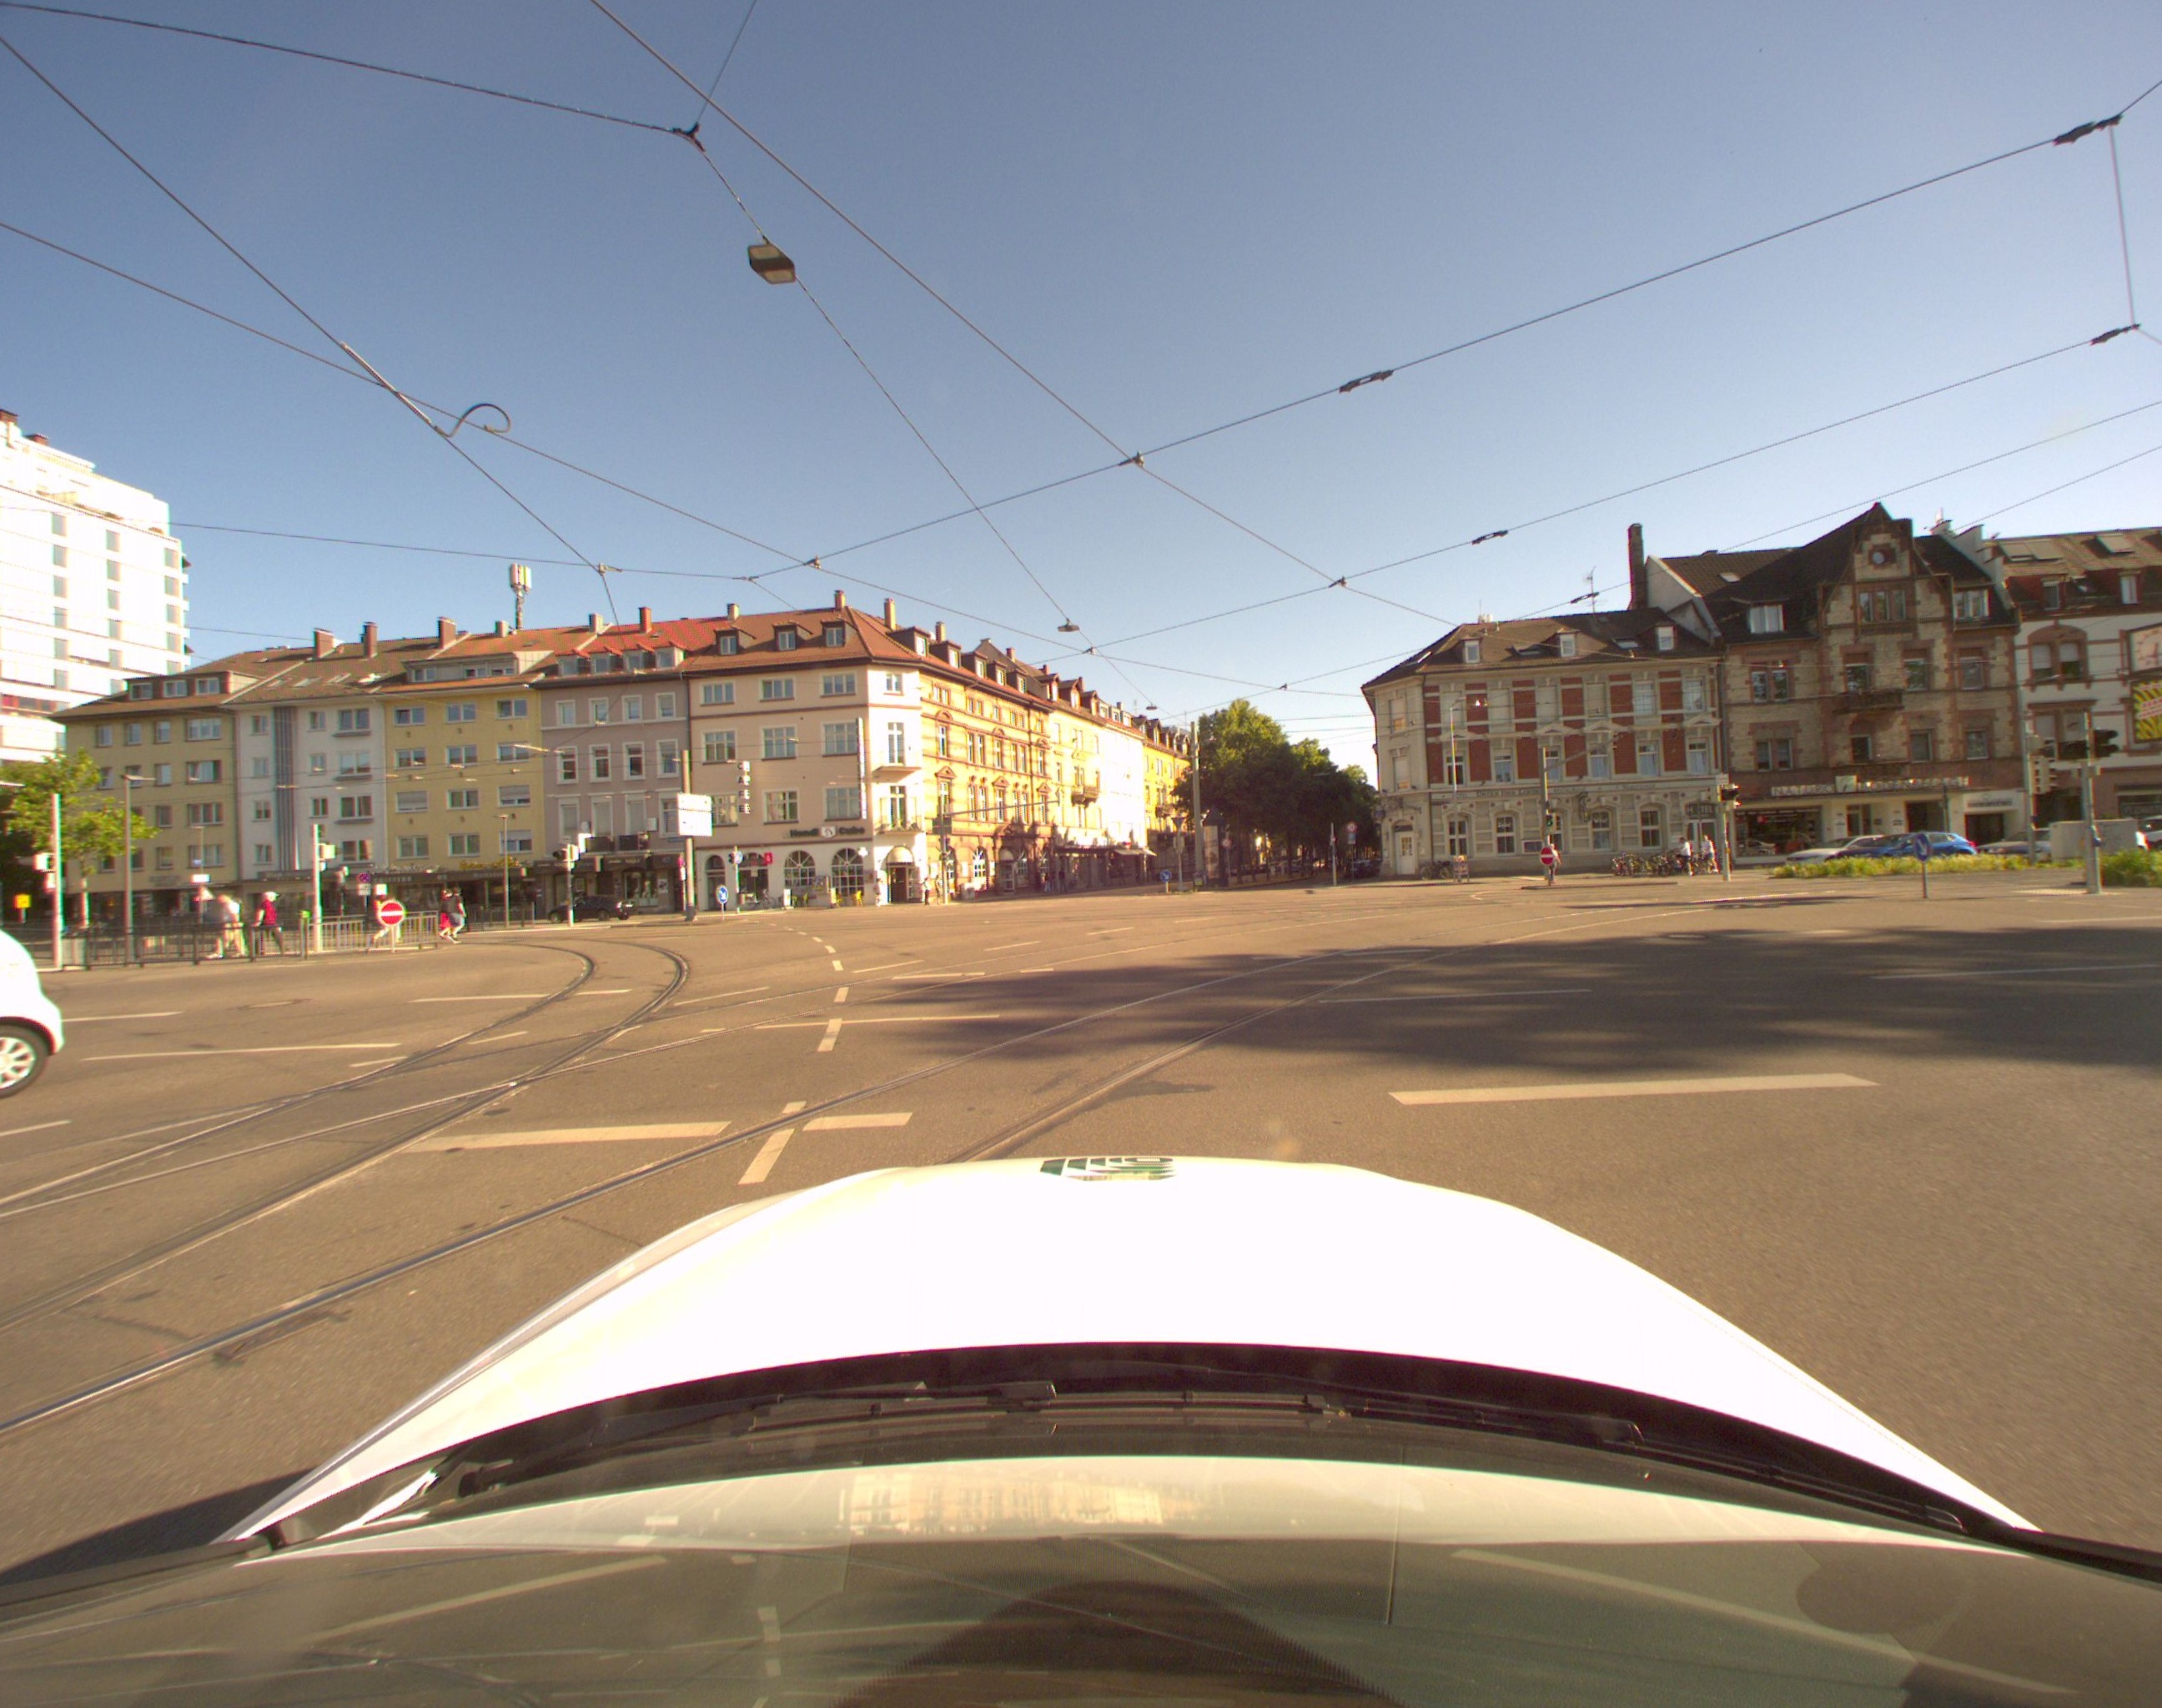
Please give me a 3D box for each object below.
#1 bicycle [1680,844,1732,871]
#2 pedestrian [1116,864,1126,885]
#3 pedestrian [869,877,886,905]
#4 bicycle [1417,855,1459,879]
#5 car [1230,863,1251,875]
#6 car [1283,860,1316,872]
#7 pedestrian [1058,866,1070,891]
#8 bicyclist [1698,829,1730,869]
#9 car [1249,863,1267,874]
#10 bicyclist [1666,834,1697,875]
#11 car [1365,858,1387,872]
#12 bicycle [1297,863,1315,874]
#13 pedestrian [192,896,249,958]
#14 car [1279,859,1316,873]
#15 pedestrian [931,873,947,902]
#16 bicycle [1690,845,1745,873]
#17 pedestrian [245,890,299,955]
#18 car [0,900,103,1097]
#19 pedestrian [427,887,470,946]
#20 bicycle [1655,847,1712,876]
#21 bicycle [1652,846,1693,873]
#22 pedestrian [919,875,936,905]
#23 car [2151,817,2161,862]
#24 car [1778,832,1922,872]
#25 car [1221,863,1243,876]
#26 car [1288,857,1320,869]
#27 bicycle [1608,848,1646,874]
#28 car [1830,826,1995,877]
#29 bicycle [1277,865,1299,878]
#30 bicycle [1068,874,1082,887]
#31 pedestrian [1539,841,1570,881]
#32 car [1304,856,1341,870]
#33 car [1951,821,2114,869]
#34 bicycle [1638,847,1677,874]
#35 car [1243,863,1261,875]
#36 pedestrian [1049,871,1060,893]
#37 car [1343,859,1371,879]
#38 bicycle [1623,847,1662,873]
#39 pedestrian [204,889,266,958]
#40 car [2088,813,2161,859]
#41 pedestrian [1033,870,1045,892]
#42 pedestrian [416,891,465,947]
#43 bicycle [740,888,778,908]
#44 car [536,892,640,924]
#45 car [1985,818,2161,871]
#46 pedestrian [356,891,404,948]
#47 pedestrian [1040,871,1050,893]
[{"bbox_3d":[29.214,0.169,38.081,1.957,1.191,0.678,-3,-1,-5],"label":"bicycle"},{"bbox_3d":[3.697,1.930,76.073,0.676,1.908,0.636,-3,-1,23],"label":"pedestrian"},{"bbox_3d":[-11.424,2.058,45.694,0.654,1.524,0.697,-3,-1,10],"label":"pedestrian"},{"bbox_3d":[19.156,0.713,43.687,1.948,1.191,0.548,-3,-1,12],"label":"bicycle"},{"bbox_3d":[21.493,1.996,109.395,1.976,1.497,4.055,-3,-1,21],"label":"car"},{"bbox_3d":[30.618,1.667,114.089,3.948,1.545,2.013,-3,-1,35],"label":"car"},{"bbox_3d":[-1.288,1.849,61.997,0.574,1.836,0.636,-3,-1,23],"label":"pedestrian"},{"bbox_3d":[28.853,-0.224,37.117,0.899,1.764,0.602,-3,-1,3],"label":"bicyclist"},{"bbox_3d":[26.772,2.239,122.830,1.976,1.497,4.055,-3,-1,21],"label":"car"},{"bbox_3d":[26.889,0.015,36.490,0.867,1.764,0.603,-3,-1,9],"label":"bicyclist"},{"bbox_3d":[33.598,1.227,92.794,1.975,1.497,4.057,-3,-1,25],"label":"car"},{"bbox_3d":[23.677,1.513,85.591,0.585,1.067,1.931,-2,-1,-29],"label":"bicycle"},{"bbox_3d":[-23.655,2.001,22.386,0.854,1.631,0.813,-3,-1,24],"label":"pedestrian"},{"bbox_3d":[26.986,1.517,101.705,3.948,1.545,2.013,-3,-1,35],"label":"car"},{"bbox_3d":[-8.194,1.925,46.990,0.625,1.642,0.555,-3,-1,20],"label":"pedestrian"},{"bbox_3d":[28.985,0.239,37.110,1.953,1.191,0.602,-3,-1,2],"label":"bicycle"},{"bbox_3d":[-22.536,1.906,22.698,0.815,1.724,0.853,-3,-1,29],"label":"pedestrian"},{"bbox_3d":[-9.391,1.169,5.222,1.709,1.497,3.590,-3,-1,6],"label":"car"},{"bbox_3d":[-19.387,1.903,24.967,0.650,1.733,0.801,-3,-1,0],"label":"pedestrian"},{"bbox_3d":[26.965,0.326,36.475,1.949,1.191,0.603,-3,-1,9],"label":"bicycle"},{"bbox_3d":[28.040,0.266,38.619,0.673,1.191,1.972,-3,-1,8],"label":"bicycle"},{"bbox_3d":[-8.599,2.003,45.538,0.669,1.642,0.581,-3,-1,20],"label":"pedestrian"},{"bbox_3d":[42.147,-0.635,29.237,4.449,1.668,1.958,-3,-1,6],"label":"car"},{"bbox_3d":[31.574,-0.066,33.551,3.966,1.412,1.849,-3,-1,6],"label":"car"},{"bbox_3d":[19.412,1.972,104.356,1.976,1.497,4.055,-3,-1,21],"label":"car"},{"bbox_3d":[32.866,1.318,120.014,3.948,1.545,2.013,-3,-1,35],"label":"car"},{"bbox_3d":[26.032,0.344,38.835,0.673,1.191,1.972,-3,-1,8],"label":"bicycle"},{"bbox_3d":[31.109,-0.084,30.584,3.966,1.668,1.958,-3,-1,6],"label":"car"},{"bbox_3d":[17.672,1.481,69.657,0.585,1.067,1.931,-2,-1,-29],"label":"bicycle"},{"bbox_3d":[-0.504,2.238,68.545,0.490,1.067,1.779,-3,-1,23],"label":"bicycle"},{"bbox_3d":[20.423,0.312,35.150,0.713,1.669,0.939,-3,-1,0],"label":"pedestrian"},{"bbox_3d":[30.324,1.156,102.338,3.948,1.545,2.013,-3,-1,38],"label":"car"},{"bbox_3d":[38.267,-0.337,32.841,3.966,1.668,1.958,-3,-1,6],"label":"car"},{"bbox_3d":[27.374,0.307,38.705,0.673,1.191,1.972,-3,-1,8],"label":"bicycle"},{"bbox_3d":[24.865,2.150,118.319,1.976,1.497,4.055,-3,-1,21],"label":"car"},{"bbox_3d":[-2.005,2.092,61.776,0.546,1.642,0.636,-3,-1,20],"label":"pedestrian"},{"bbox_3d":[23.274,1.223,68.658,1.976,1.497,4.055,-3,-1,21],"label":"car"},{"bbox_3d":[26.728,0.292,38.780,0.673,1.191,1.972,-3,-1,8],"label":"bicycle"},{"bbox_3d":[-22.487,1.822,21.655,0.822,1.733,0.785,-2,-1,-16],"label":"pedestrian"},{"bbox_3d":[48.688,-0.849,36.470,4.381,1.965,1.958,-3,-1,6],"label":"car"},{"bbox_3d":[-3.182,2.067,61.650,0.622,1.642,0.540,-3,-1,19],"label":"pedestrian"},{"bbox_3d":[-20.976,2.117,26.685,0.835,1.733,0.905,-3,-1,2],"label":"pedestrian"},{"bbox_3d":[-18.752,2.546,47.480,1.937,1.067,0.583,-3,-1,0],"label":"bicycle"},{"bbox_3d":[-26.882,2.945,44.484,4.618,1.440,1.746,-3,-1,4],"label":"car"},{"bbox_3d":[36.332,-0.324,29.847,3.966,1.668,1.958,-3,-1,6],"label":"car"},{"bbox_3d":[-22.559,2.098,26.237,0.784,1.733,0.823,-2,-1,-2],"label":"pedestrian"},{"bbox_3d":[-2.713,2.107,61.475,0.546,1.642,0.540,-3,-1,20],"label":"pedestrian"}]
